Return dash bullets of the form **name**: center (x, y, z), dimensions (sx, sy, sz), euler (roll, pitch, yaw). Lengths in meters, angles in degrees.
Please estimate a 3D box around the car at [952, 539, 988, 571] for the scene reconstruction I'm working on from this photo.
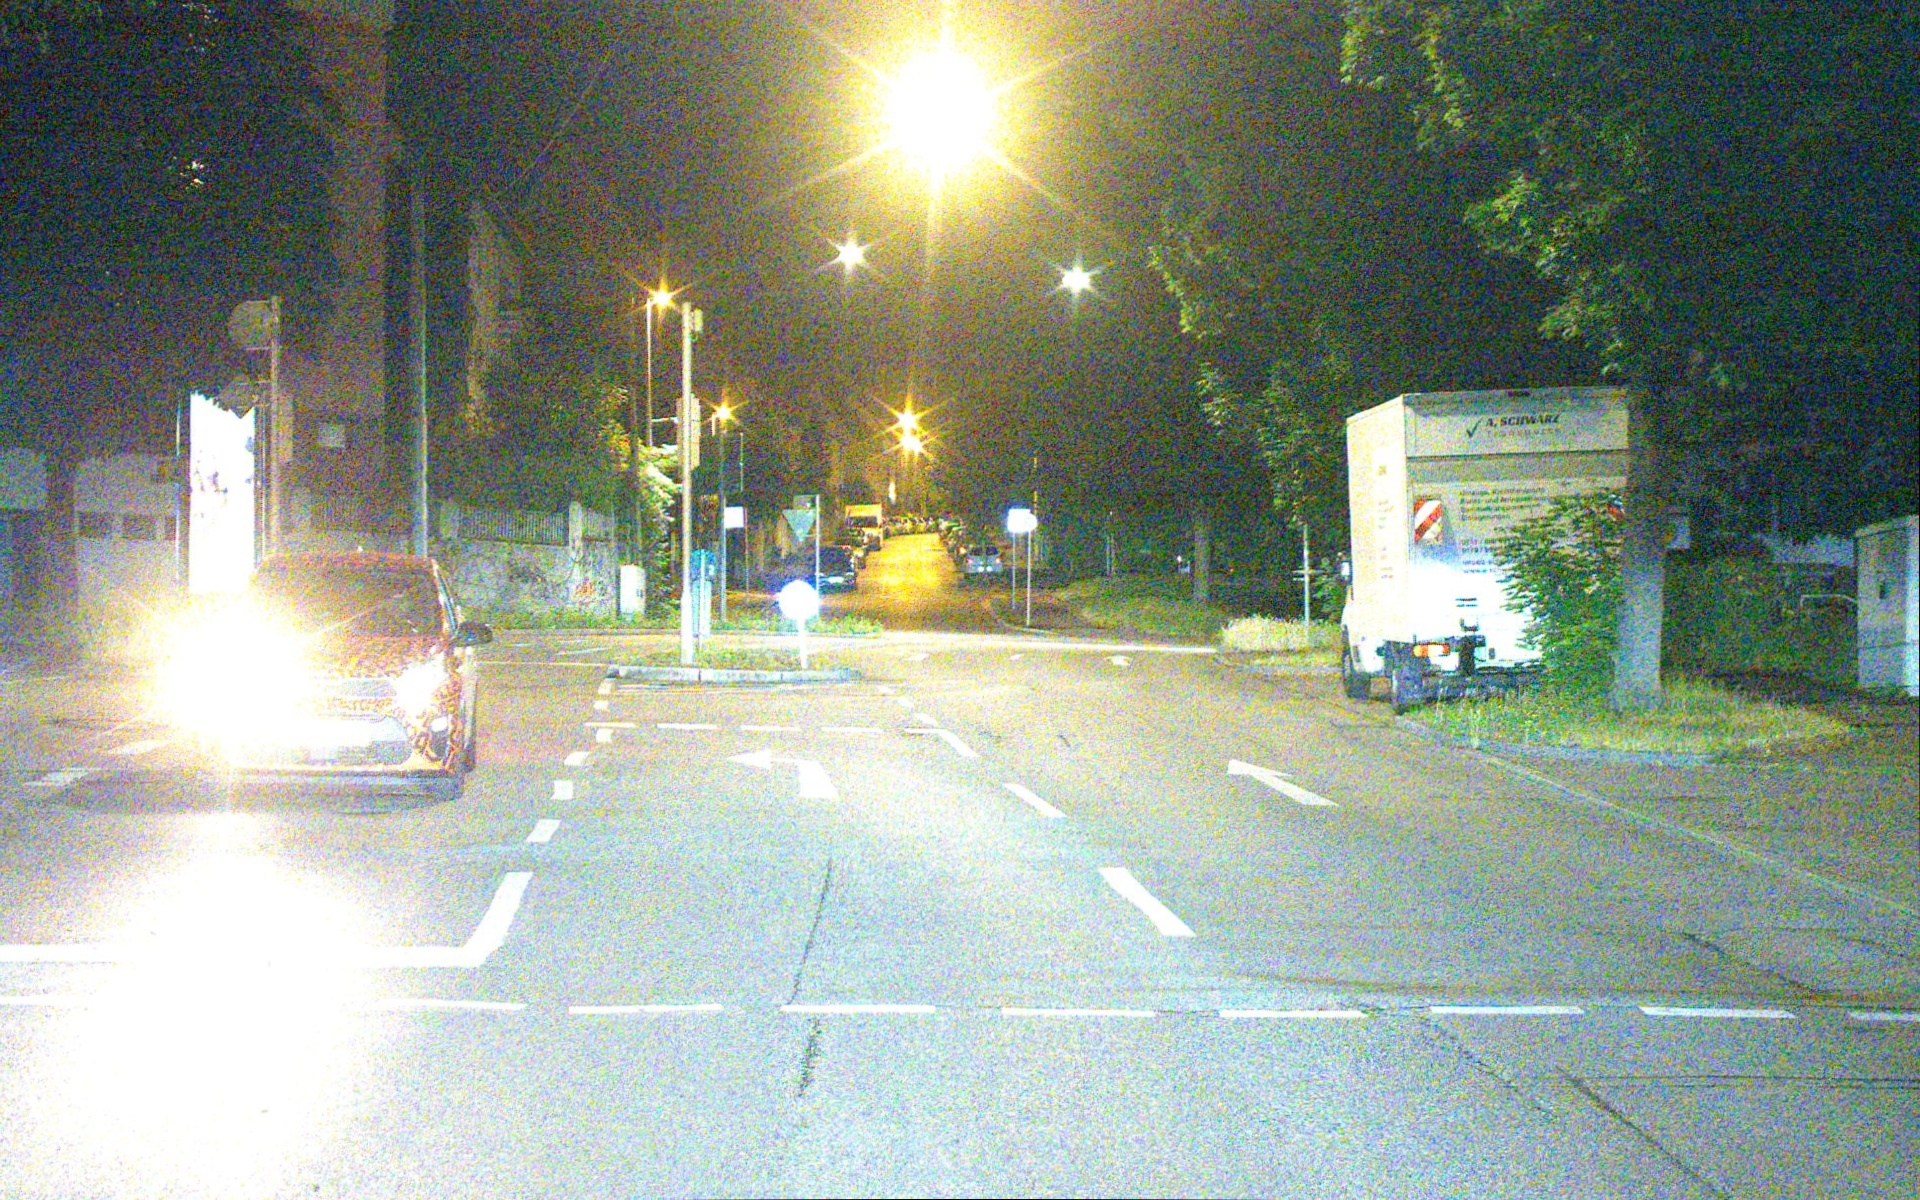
- **car**: center (0.454, -2.087, 159.282), dimensions (1.634, 1.447, 3.485), euler (1, 1, -1)

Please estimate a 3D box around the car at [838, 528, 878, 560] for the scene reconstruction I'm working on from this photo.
- **car**: center (-4.790, -2.616, 160.571), dimensions (1.815, 1.486, 4.000), euler (1, 1, -2)

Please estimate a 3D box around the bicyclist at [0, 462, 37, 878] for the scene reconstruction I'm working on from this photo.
- **bicyclist**: center (-4.111, 0.272, 13.576), dimensions (0.690, 1.631, 0.896), euler (1, 0, -1)

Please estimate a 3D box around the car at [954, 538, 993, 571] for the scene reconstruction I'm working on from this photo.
- **car**: center (0.590, -2.035, 153.097), dimensions (1.634, 1.447, 3.485), euler (1, 1, -1)

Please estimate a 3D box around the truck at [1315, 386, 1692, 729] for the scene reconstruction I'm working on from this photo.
- **truck**: center (5.297, -0.435, 34.624), dimensions (2.749, 3.100, 6.258), euler (1, 1, 0)

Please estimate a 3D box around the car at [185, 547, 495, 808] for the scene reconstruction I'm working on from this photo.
- **car**: center (-3.846, 0.430, 21.751), dimensions (1.581, 1.496, 3.396), euler (1, 1, -4)

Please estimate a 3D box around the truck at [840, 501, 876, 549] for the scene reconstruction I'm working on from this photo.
- **truck**: center (-6.215, -4.544, 209.583), dimensions (2.086, 2.838, 5.832), euler (1, 1, -2)

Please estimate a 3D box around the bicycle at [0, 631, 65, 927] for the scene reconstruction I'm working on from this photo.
- **bicycle**: center (-4.122, 0.711, 13.547), dimensions (0.696, 1.145, 1.951), euler (1, 0, -1)

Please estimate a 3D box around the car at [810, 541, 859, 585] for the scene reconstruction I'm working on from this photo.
- **car**: center (-4.896, -1.460, 134.451), dimensions (1.815, 1.678, 4.000), euler (1, 1, -1)

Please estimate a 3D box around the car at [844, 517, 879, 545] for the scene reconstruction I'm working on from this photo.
- **car**: center (-5.370, -3.737, 186.953), dimensions (1.815, 1.486, 4.000), euler (1, 1, -2)

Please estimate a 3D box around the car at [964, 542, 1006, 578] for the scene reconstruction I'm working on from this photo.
- **car**: center (1.030, -1.678, 143.365), dimensions (1.634, 1.447, 3.485), euler (1, 1, -1)

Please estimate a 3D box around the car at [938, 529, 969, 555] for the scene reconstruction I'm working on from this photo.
- **car**: center (-0.372, -3.226, 191.486), dimensions (1.634, 1.447, 3.485), euler (1, 1, -1)
